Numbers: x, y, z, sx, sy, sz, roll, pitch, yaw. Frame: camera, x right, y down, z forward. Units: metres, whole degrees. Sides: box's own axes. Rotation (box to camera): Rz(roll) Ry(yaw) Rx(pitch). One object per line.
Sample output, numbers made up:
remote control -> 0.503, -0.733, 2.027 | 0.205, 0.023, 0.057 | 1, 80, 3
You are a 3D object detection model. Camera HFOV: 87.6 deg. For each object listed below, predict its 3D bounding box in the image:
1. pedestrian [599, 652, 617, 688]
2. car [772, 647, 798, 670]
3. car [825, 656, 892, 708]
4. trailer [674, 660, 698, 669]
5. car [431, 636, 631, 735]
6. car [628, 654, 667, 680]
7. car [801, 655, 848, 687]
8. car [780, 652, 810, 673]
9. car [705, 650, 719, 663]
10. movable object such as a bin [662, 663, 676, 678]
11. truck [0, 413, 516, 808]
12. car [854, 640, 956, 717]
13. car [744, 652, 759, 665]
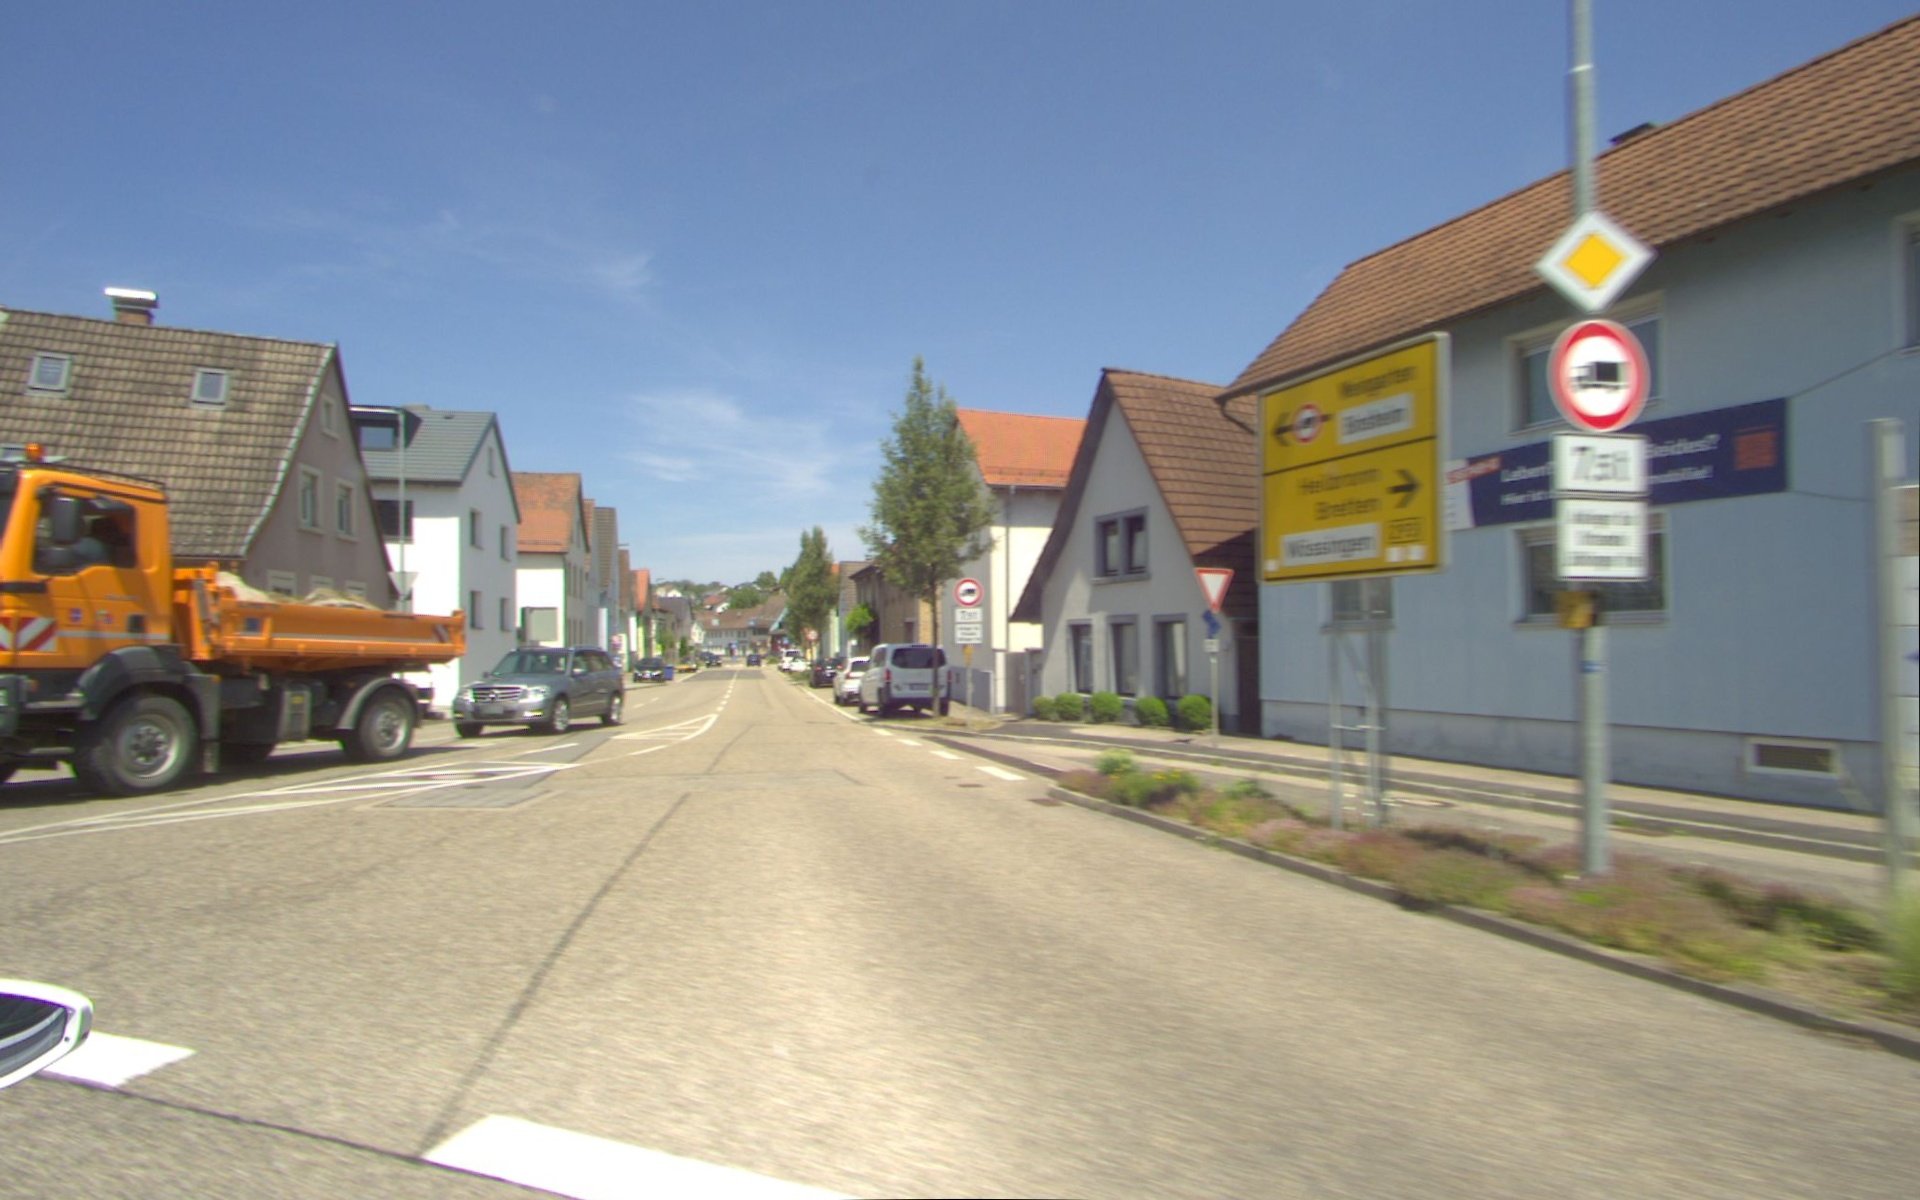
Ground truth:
pedestrian -> -20.329, 4.036, 57.908 | 0.756, 2.039, 0.977 | 1, -2, -7
car -> -15.856, 5.287, 90.731 | 1.964, 2.016, 3.997 | 1, -3, -15
car -> -3.611, 2.821, 35.055 | 1.790, 1.655, 4.205 | 0, -3, -13
trailer -> -25.587, 6.028, 93.432 | 1.925, 0.787, 2.714 | 2, -3, -22
car -> -8.070, 1.606, 19.362 | 1.961, 1.695, 4.317 | 0, -3, 0
car -> -20.147, 4.325, 64.755 | 1.690, 1.616, 4.001 | 1, -3, -7
car -> -7.181, 3.709, 52.791 | 1.964, 1.605, 3.997 | 1, -3, -15
car -> -13.128, 4.957, 79.433 | 1.964, 1.604, 3.997 | 1, -3, -15
car -> -30.951, 7.057, 125.048 | 1.692, 1.616, 3.998 | 1, -3, -14
movable object such as a bin -> -20.392, 4.951, 70.182 | 0.906, 1.062, 0.943 | 1, -2, -12
truck -> -8.656, 0.357, 11.889 | 2.618, 3.219, 7.469 | -1, -4, 8
car -> -1.623, 2.178, 27.878 | 1.964, 1.935, 4.322 | 1, -4, -15
car -> -25.773, 7.201, 123.848 | 1.692, 1.615, 3.998 | 1, -3, -14
